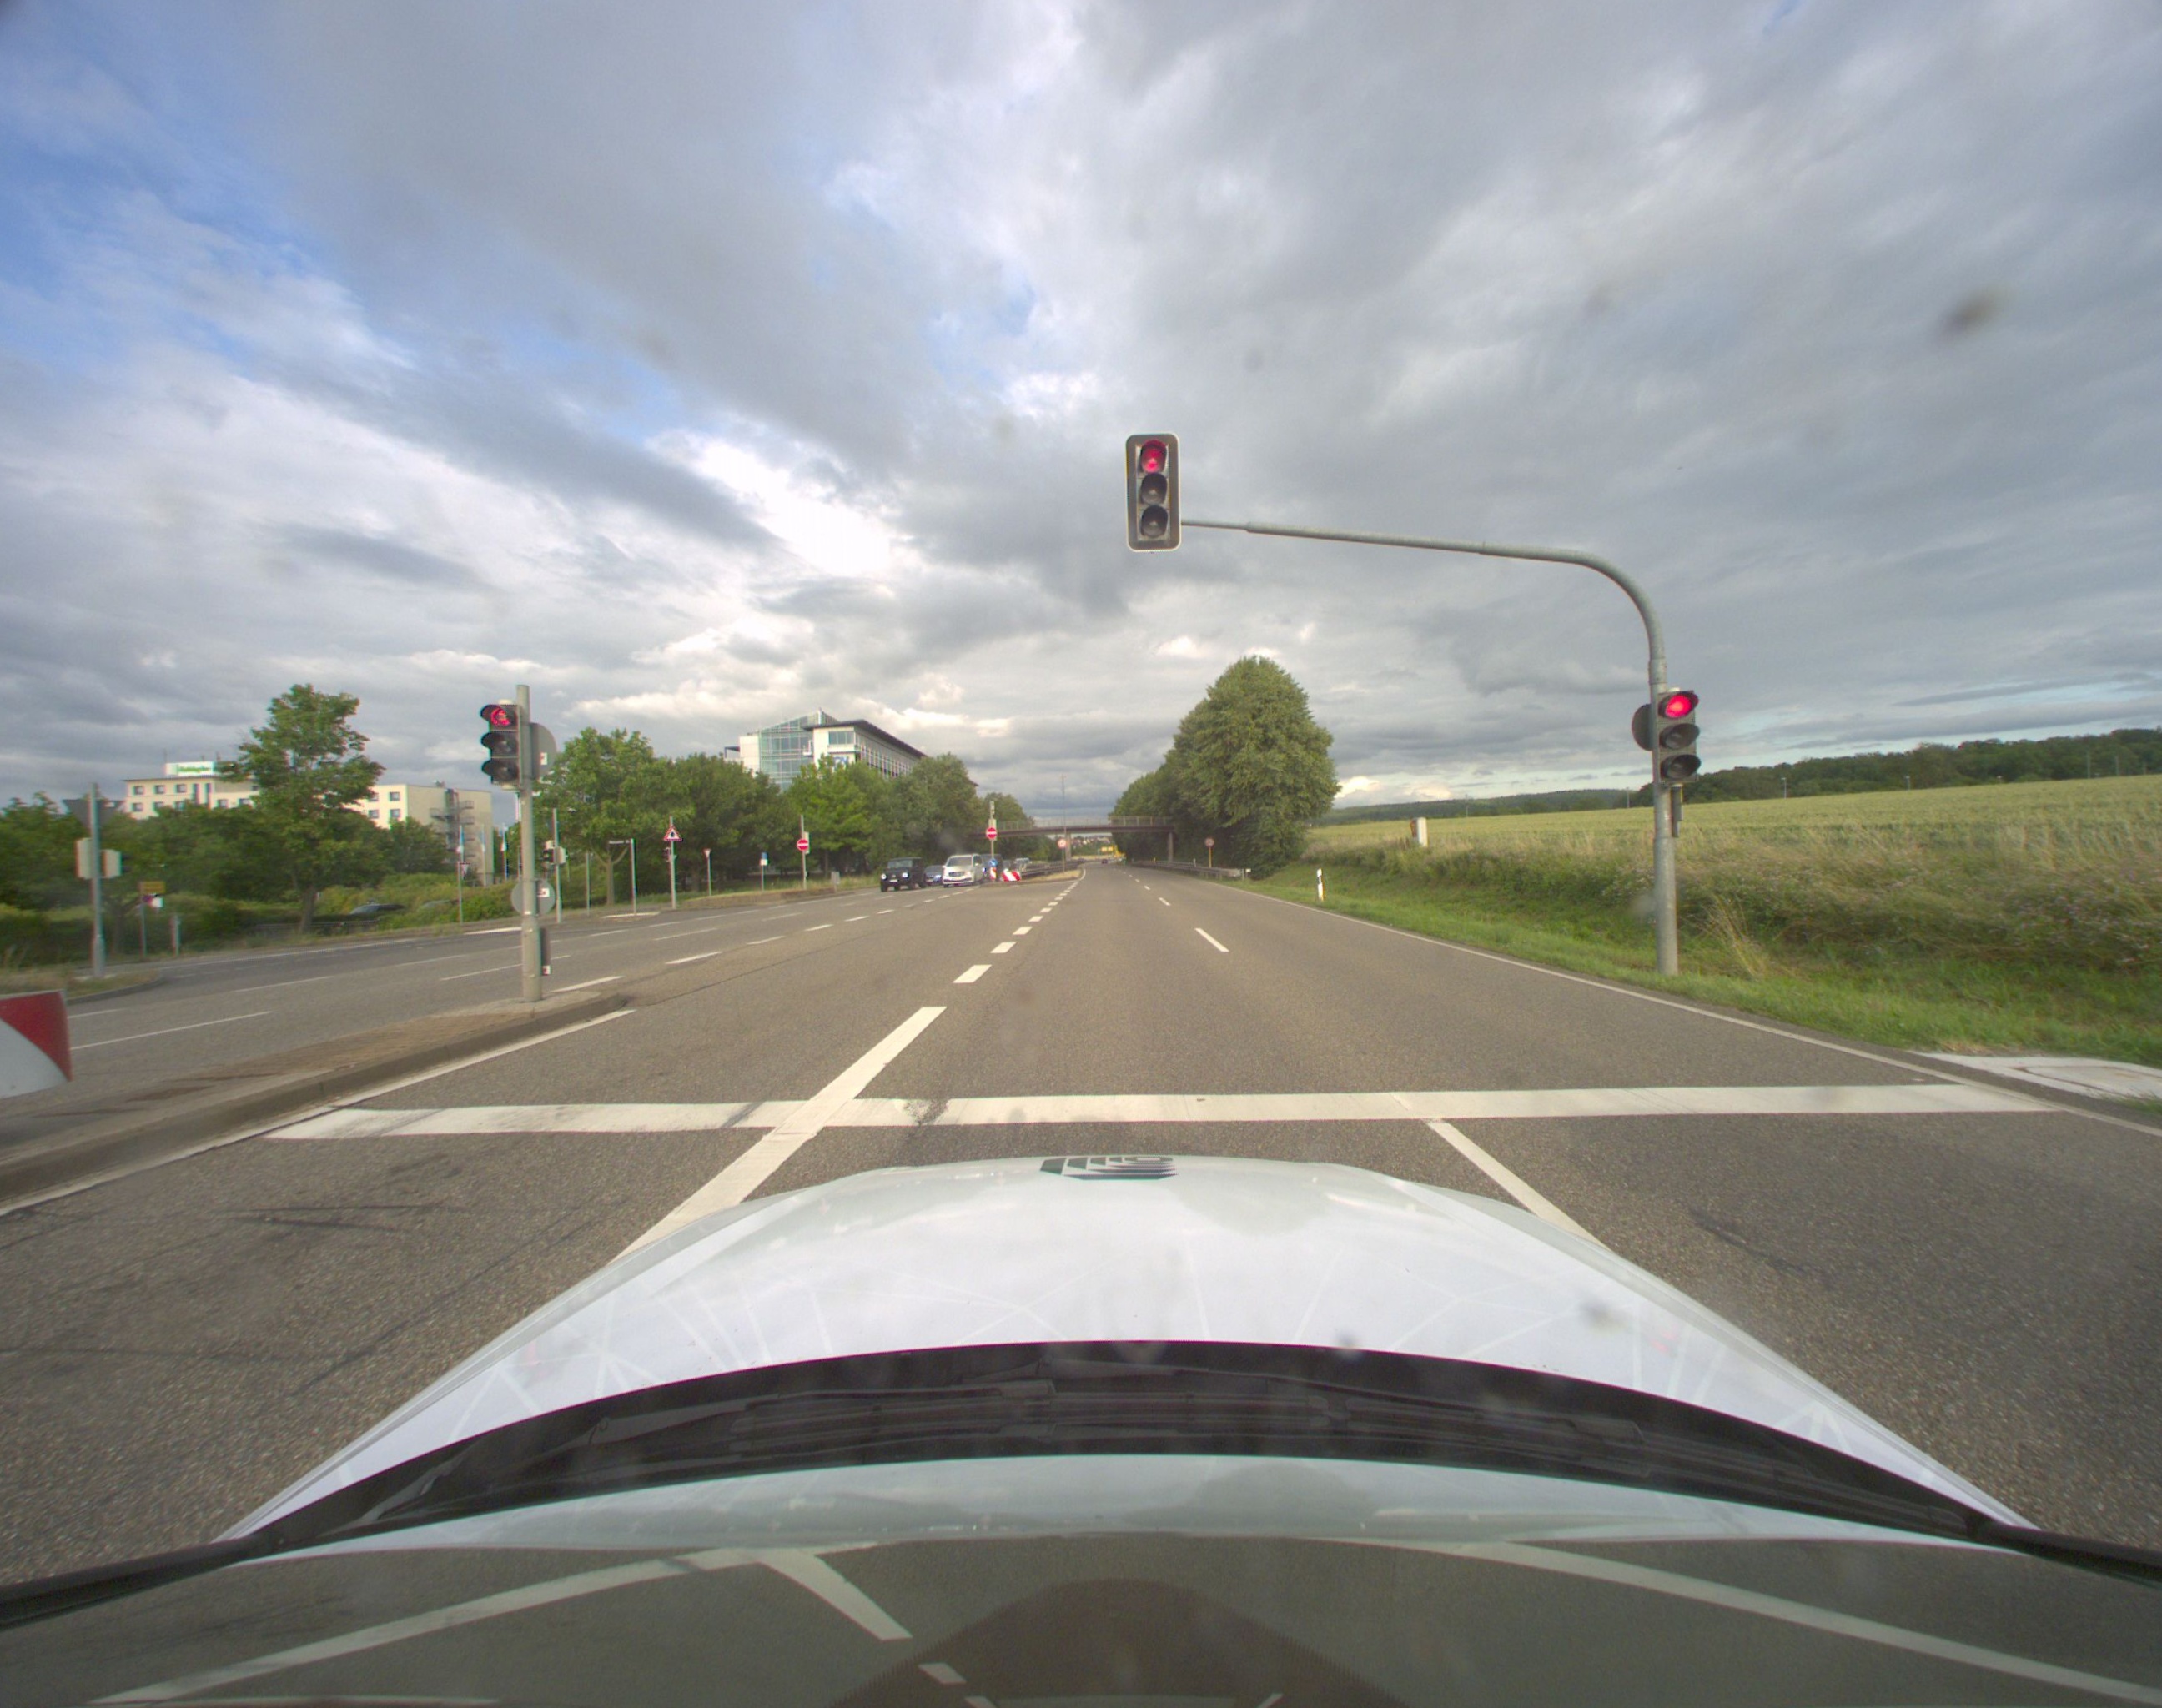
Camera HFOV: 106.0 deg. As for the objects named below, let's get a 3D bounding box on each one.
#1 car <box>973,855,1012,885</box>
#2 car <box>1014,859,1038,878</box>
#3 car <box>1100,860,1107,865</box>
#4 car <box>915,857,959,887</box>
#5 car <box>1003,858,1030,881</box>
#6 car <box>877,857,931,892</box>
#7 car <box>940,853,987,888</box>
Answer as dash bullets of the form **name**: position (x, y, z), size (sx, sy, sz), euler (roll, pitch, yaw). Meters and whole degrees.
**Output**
- **car**: position (-6.183, 1.075, 57.395), size (2.076, 2.014, 5.216), euler (0, -1, 1)
- **car**: position (-5.760, 1.495, 85.840), size (2.076, 2.014, 5.216), euler (0, -1, 1)
- **car**: position (7.098, 2.598, 255.756), size (1.875, 1.552, 3.995), euler (0, -1, -3)
- **car**: position (-10.024, 1.254, 57.139), size (2.076, 2.014, 5.216), euler (0, -1, 1)
- **car**: position (-5.996, 1.407, 75.945), size (2.076, 2.014, 5.216), euler (0, -1, 1)
- **car**: position (-10.721, 1.190, 49.650), size (2.076, 2.014, 5.216), euler (0, -1, 1)
- **car**: position (-7.101, 0.967, 49.676), size (2.076, 2.014, 5.216), euler (0, -1, 1)
